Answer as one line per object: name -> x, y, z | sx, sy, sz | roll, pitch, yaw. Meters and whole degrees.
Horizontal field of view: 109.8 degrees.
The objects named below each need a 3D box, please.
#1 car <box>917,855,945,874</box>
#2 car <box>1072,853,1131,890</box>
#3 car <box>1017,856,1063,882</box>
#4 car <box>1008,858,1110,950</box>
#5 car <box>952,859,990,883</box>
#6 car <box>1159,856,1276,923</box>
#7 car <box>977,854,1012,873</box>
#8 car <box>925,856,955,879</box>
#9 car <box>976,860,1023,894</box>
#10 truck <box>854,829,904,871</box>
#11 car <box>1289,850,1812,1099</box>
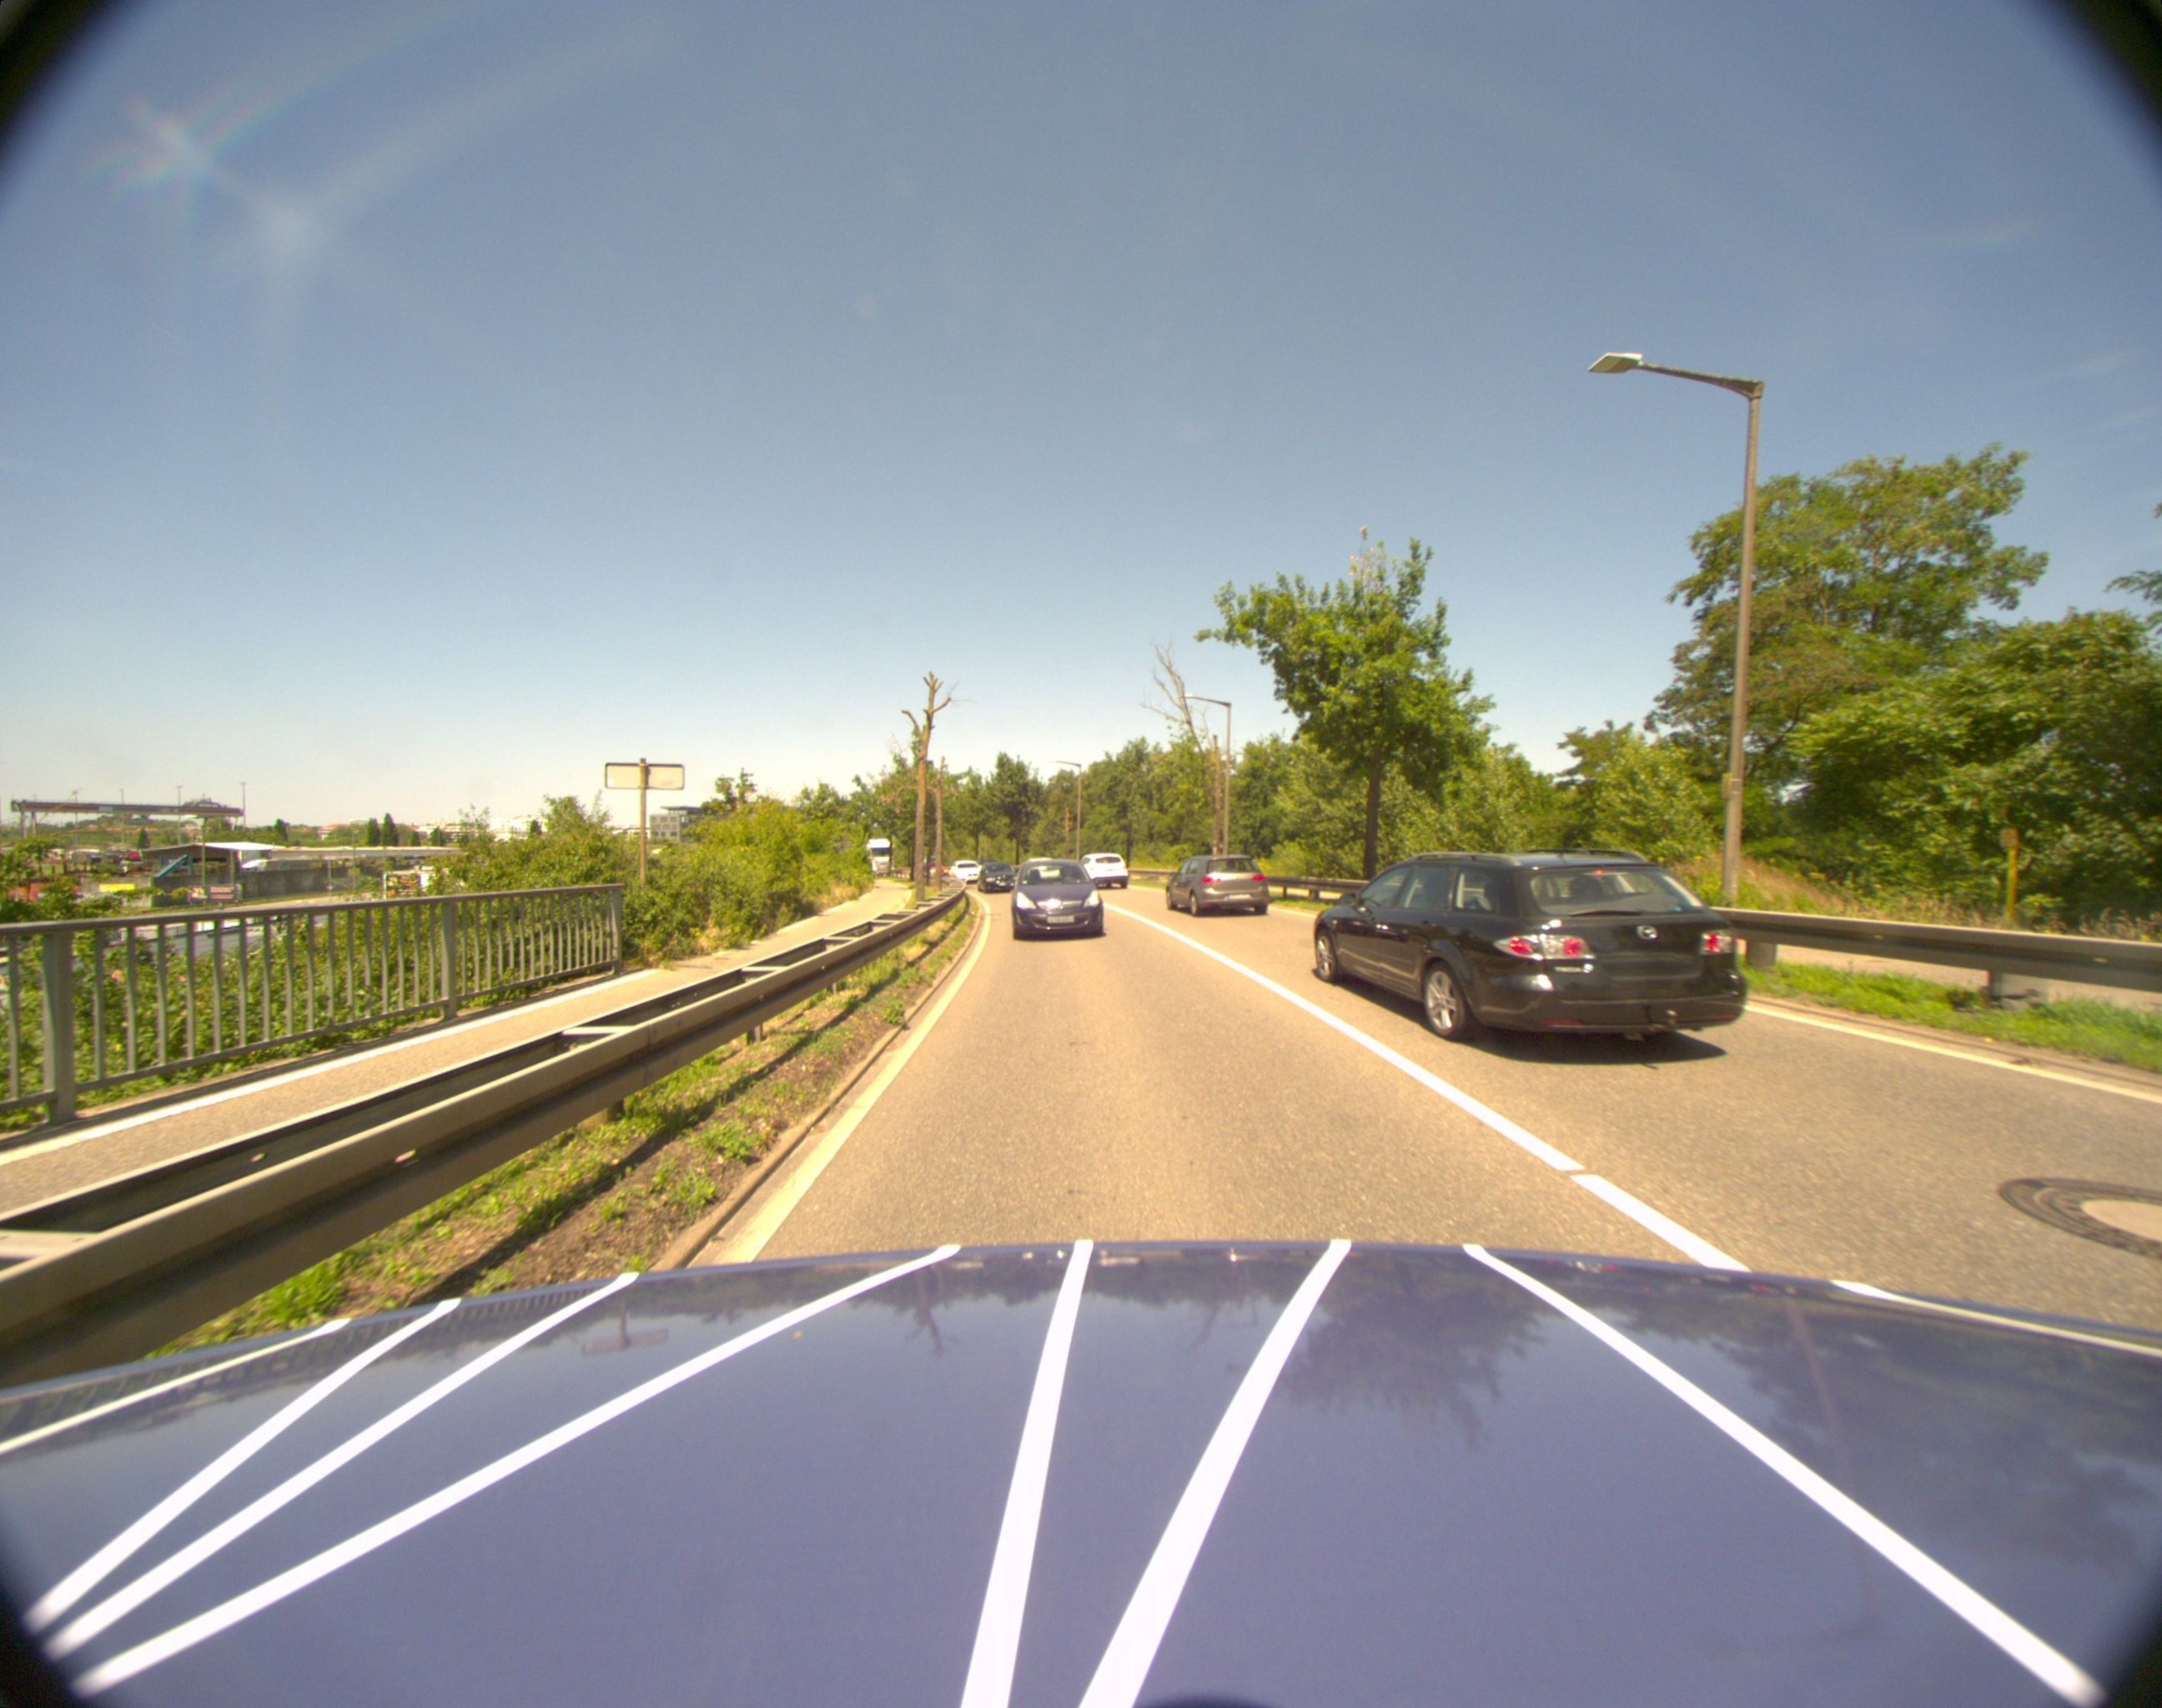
car -> -15.790, 1.075, 79.843 | 1.838, 1.927, 4.766 | -2, 0, -24
car -> 0.866, 0.765, 34.891 | 1.752, 1.537, 4.388 | -2, 0, -11
car -> -2.584, 0.907, 46.967 | 1.707, 1.438, 4.453 | -3, 0, -18
car -> -0.556, 0.864, 15.207 | 1.699, 1.459, 4.381 | -2, 0, -5
car -> -7.021, 1.037, 48.165 | 1.819, 1.420, 3.710 | -2, 0, -16
car -> 3.283, 0.799, 19.091 | 1.721, 1.419, 4.104 | -2, 0, -7
car -> -7.096, 0.760, 61.970 | 1.853, 1.459, 4.733 | -3, 0, -19
car -> -11.701, 1.071, 62.908 | 1.903, 1.645, 4.250 | -2, 2, -17
car -> -3.856, 1.030, 35.387 | 1.571, 1.408, 4.117 | -2, 0, -14
truck -> -22.249, -0.370, 83.408 | 2.864, 4.244, 8.795 | -3, 1, -30
car -> 3.522, 0.725, 6.937 | 1.761, 1.434, 4.566 | -2, 1, -3
